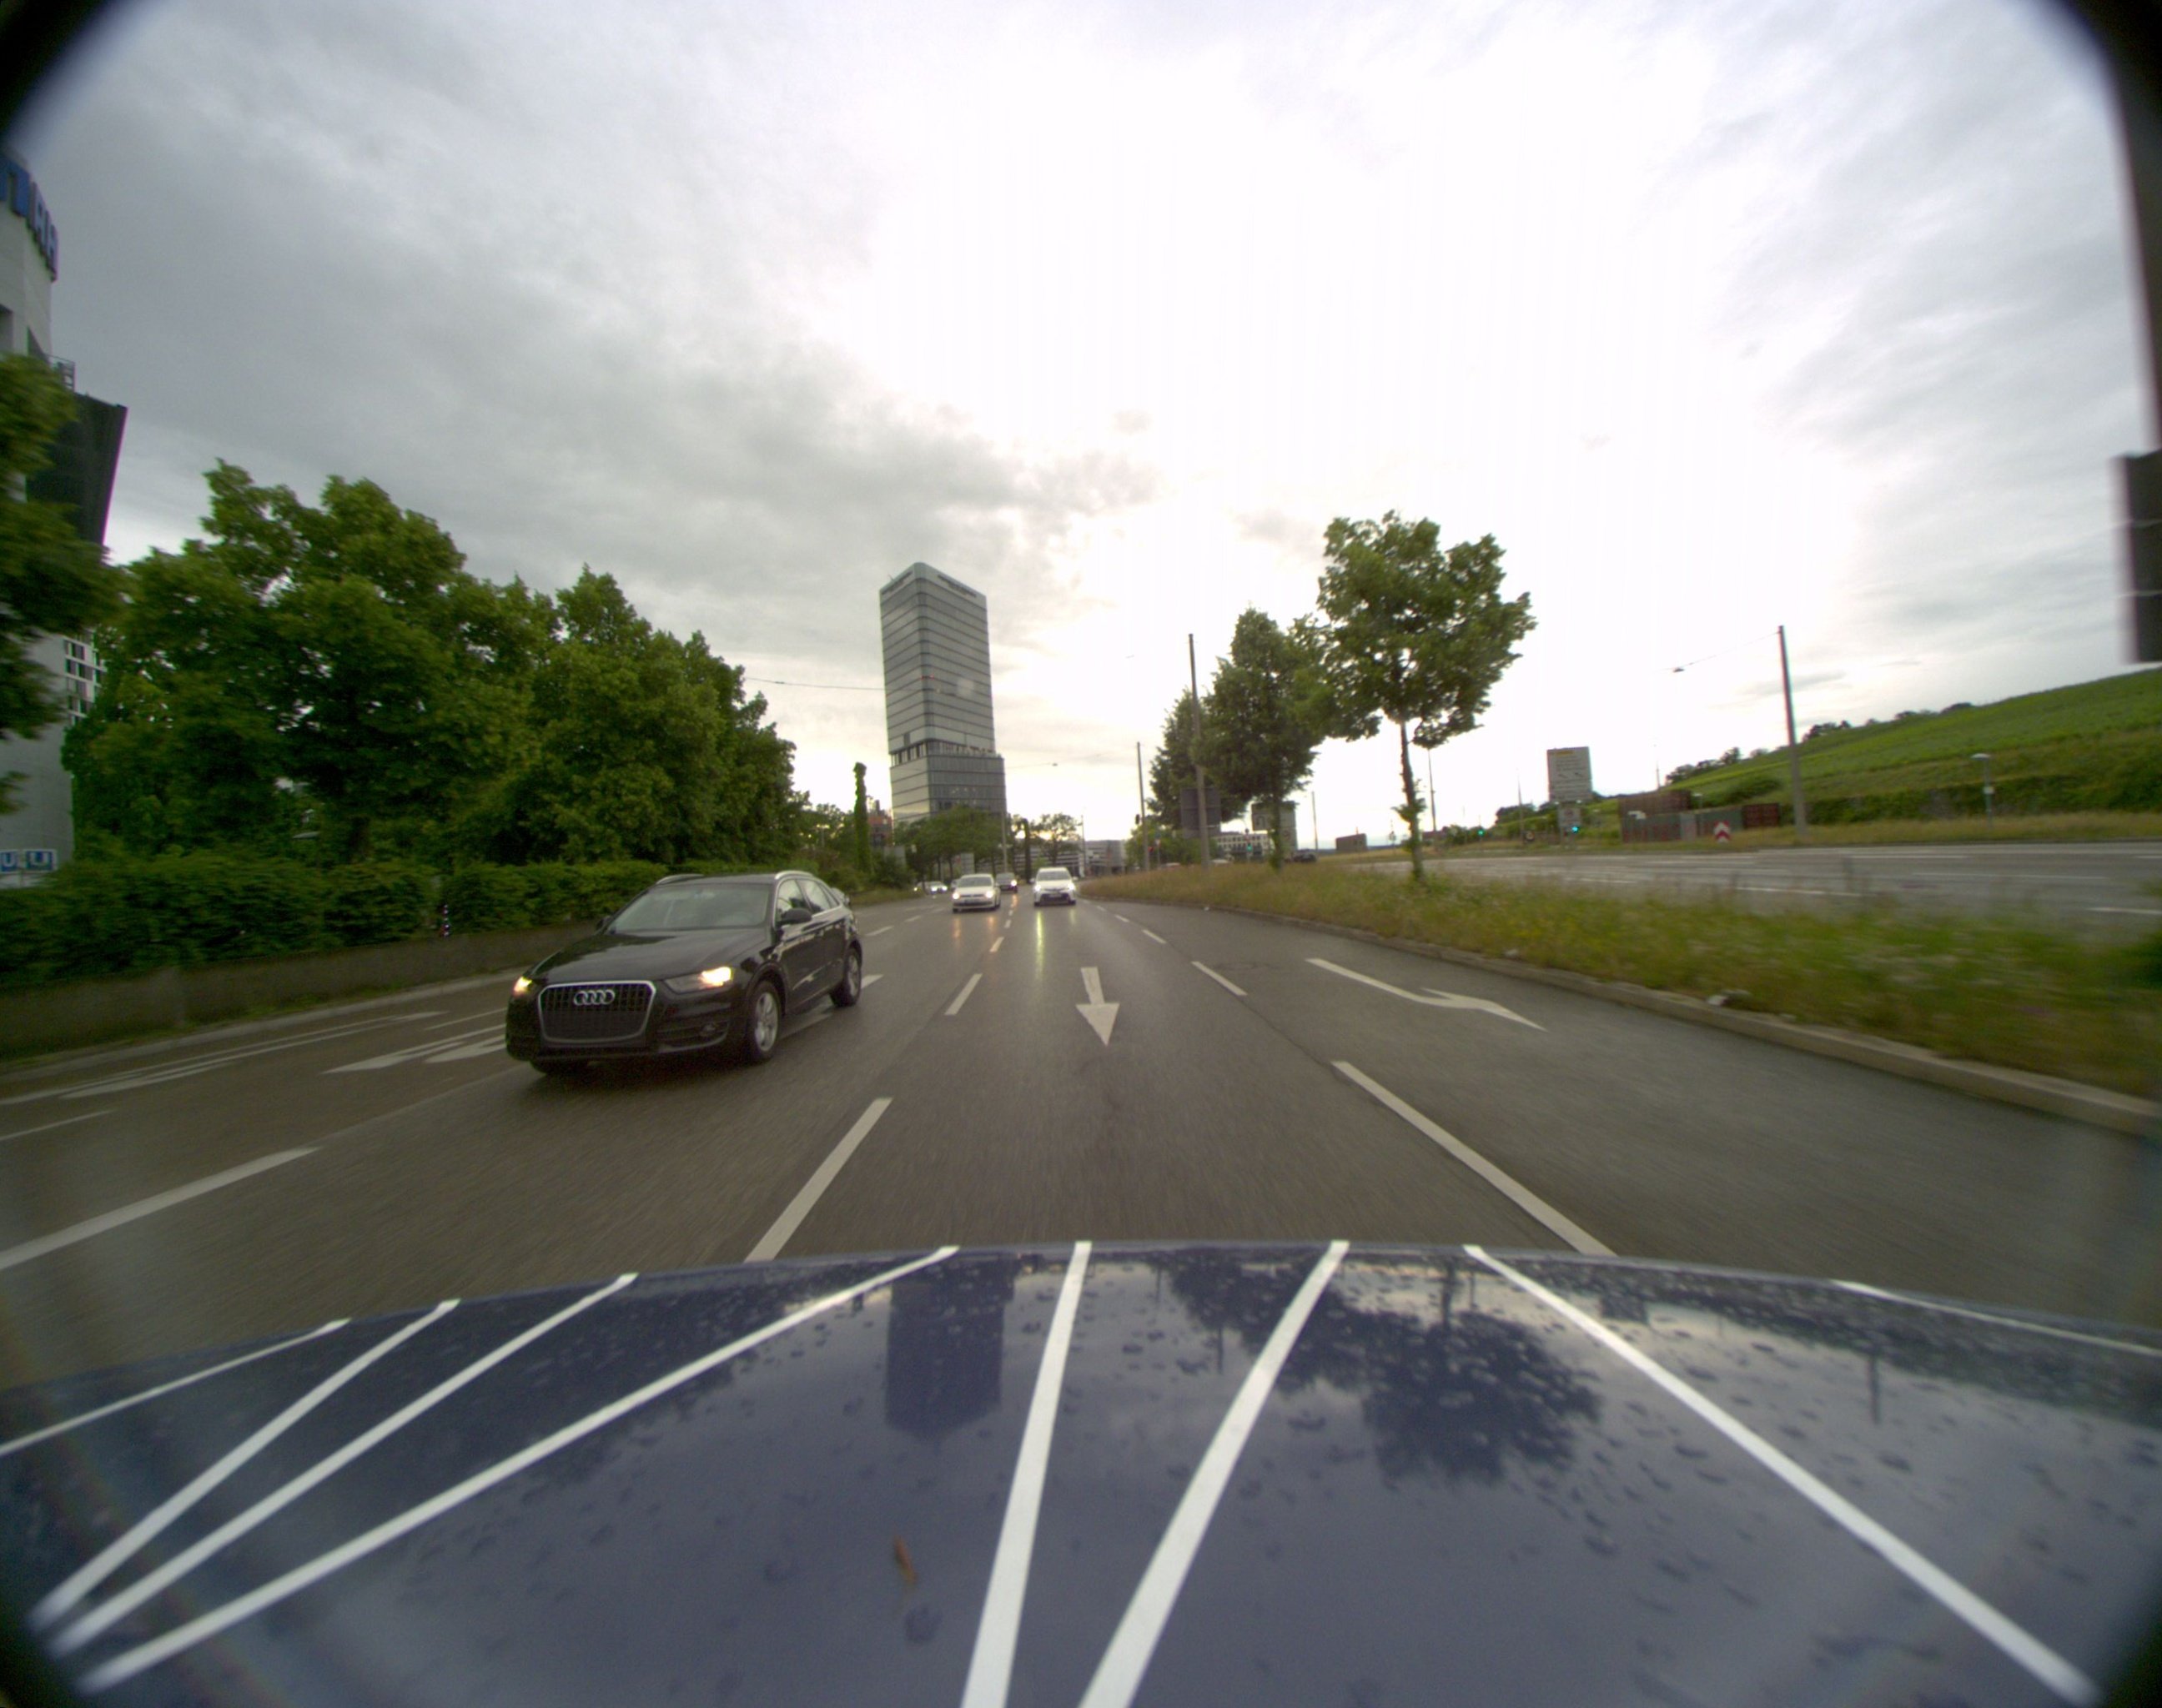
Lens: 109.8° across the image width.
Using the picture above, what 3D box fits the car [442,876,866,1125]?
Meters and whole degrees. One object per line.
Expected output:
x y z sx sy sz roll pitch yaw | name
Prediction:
-3.485 1.051 7.242 1.730 1.524 4.126 -4 -1 -2 | car

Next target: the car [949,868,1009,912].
-4.020 1.404 30.673 1.730 1.463 4.264 -5 0 0 | car

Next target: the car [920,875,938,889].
-31.278 5.708 156.151 1.934 2.569 5.449 -4 -1 -29 | car

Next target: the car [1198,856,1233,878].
10.876 1.051 61.820 1.883 1.644 4.357 -4 -1 -1 | car

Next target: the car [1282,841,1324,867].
16.287 0.007 55.920 1.772 1.739 4.000 -4 -1 0 | car

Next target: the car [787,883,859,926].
-10.035 1.931 29.843 1.760 1.390 3.998 -4 -1 -6 | car

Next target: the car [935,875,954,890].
-15.759 3.288 87.615 1.635 1.467 3.676 -4 -1 -3 | car

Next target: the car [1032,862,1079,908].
-1.147 1.278 33.160 1.827 1.575 4.295 -4 2 -3 | car
